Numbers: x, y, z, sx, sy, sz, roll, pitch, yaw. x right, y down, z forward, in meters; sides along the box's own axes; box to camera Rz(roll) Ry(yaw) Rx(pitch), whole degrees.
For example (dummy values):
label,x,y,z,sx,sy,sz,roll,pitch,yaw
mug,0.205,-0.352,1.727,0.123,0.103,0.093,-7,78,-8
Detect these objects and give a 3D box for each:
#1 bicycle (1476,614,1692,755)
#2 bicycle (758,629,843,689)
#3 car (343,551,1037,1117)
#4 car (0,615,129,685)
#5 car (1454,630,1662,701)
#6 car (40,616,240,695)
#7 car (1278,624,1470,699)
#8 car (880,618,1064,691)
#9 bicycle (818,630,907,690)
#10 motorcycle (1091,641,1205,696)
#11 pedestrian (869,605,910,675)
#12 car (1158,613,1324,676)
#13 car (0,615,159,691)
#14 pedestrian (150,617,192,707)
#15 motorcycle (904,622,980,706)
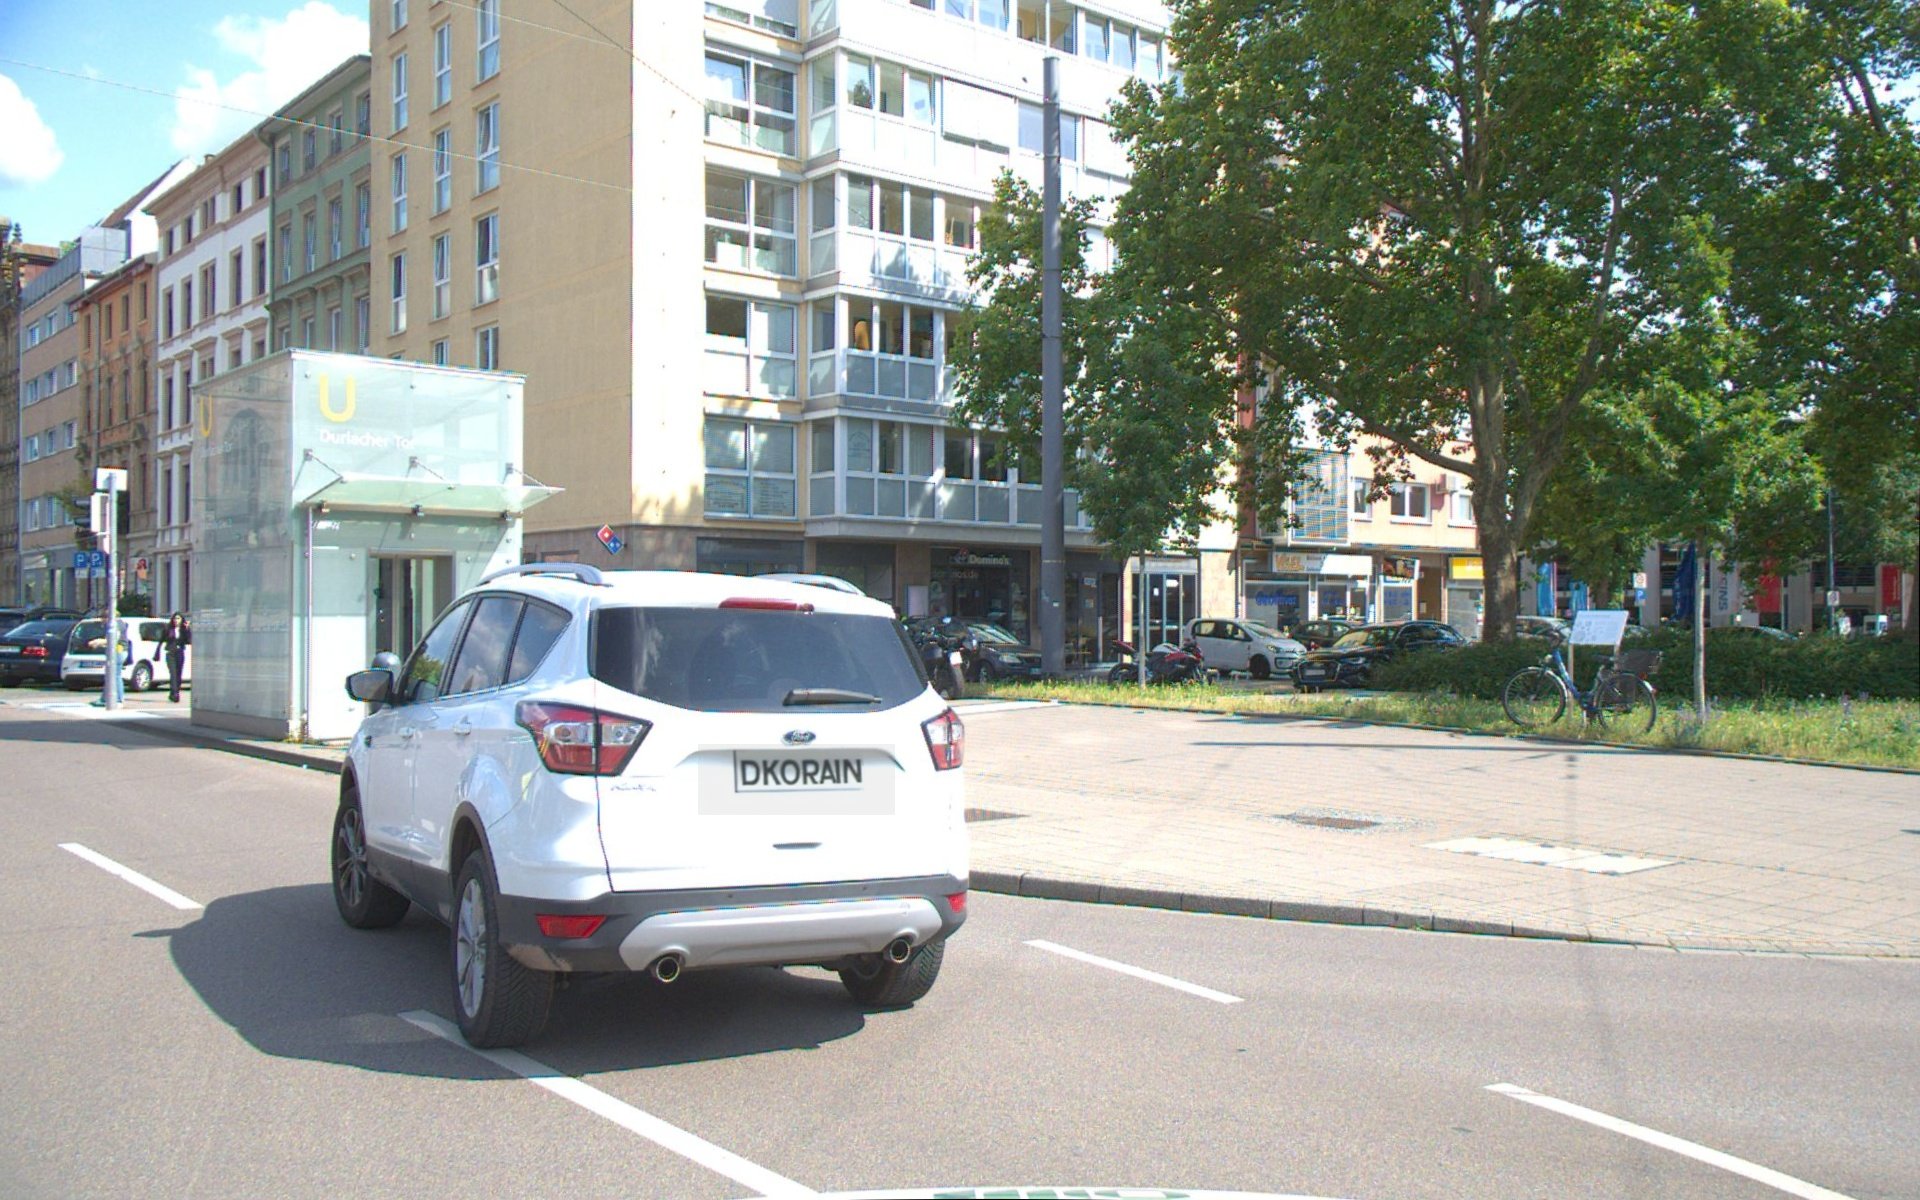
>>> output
label,x,y,z,sx,sy,sz,roll,pitch,yaw
bicycle,6.927,0.899,18.457,0.805,1.439,2.142,0,1,-42
bicycle,-3.286,1.192,33.932,0.791,1.167,1.780,1,0,-45
car,-1.433,0.753,7.137,1.806,1.693,3.919,1,-2,-28
car,-21.438,1.136,38.488,1.853,1.523,3.902,1,-1,7
car,12.132,1.319,33.788,1.610,1.350,3.961,2,-2,-29
car,-17.075,1.137,34.675,1.853,1.523,3.902,1,-1,8
car,8.548,1.267,34.054,3.961,1.438,1.884,2,-2,-40
car,0.202,1.126,34.887,1.658,1.422,3.938,2,-1,-42
bicycle,-2.037,1.232,34.301,0.791,1.167,1.917,1,0,-45
motorcycle,3.395,1.235,29.812,1.994,0.933,0.812,-1,-1,10
pedestrian,-1.679,0.944,39.419,0.841,1.636,0.830,1,1,-10
car,7.110,1.101,42.106,1.787,1.521,3.939,1,-1,-42
car,-19.377,1.113,35.742,1.853,1.523,3.902,1,-1,7
pedestrian,-13.852,1.084,29.027,0.549,1.561,0.691,1,-2,-36
motorcycle,-0.308,1.002,26.549,0.886,1.259,2.214,-1,0,-9
